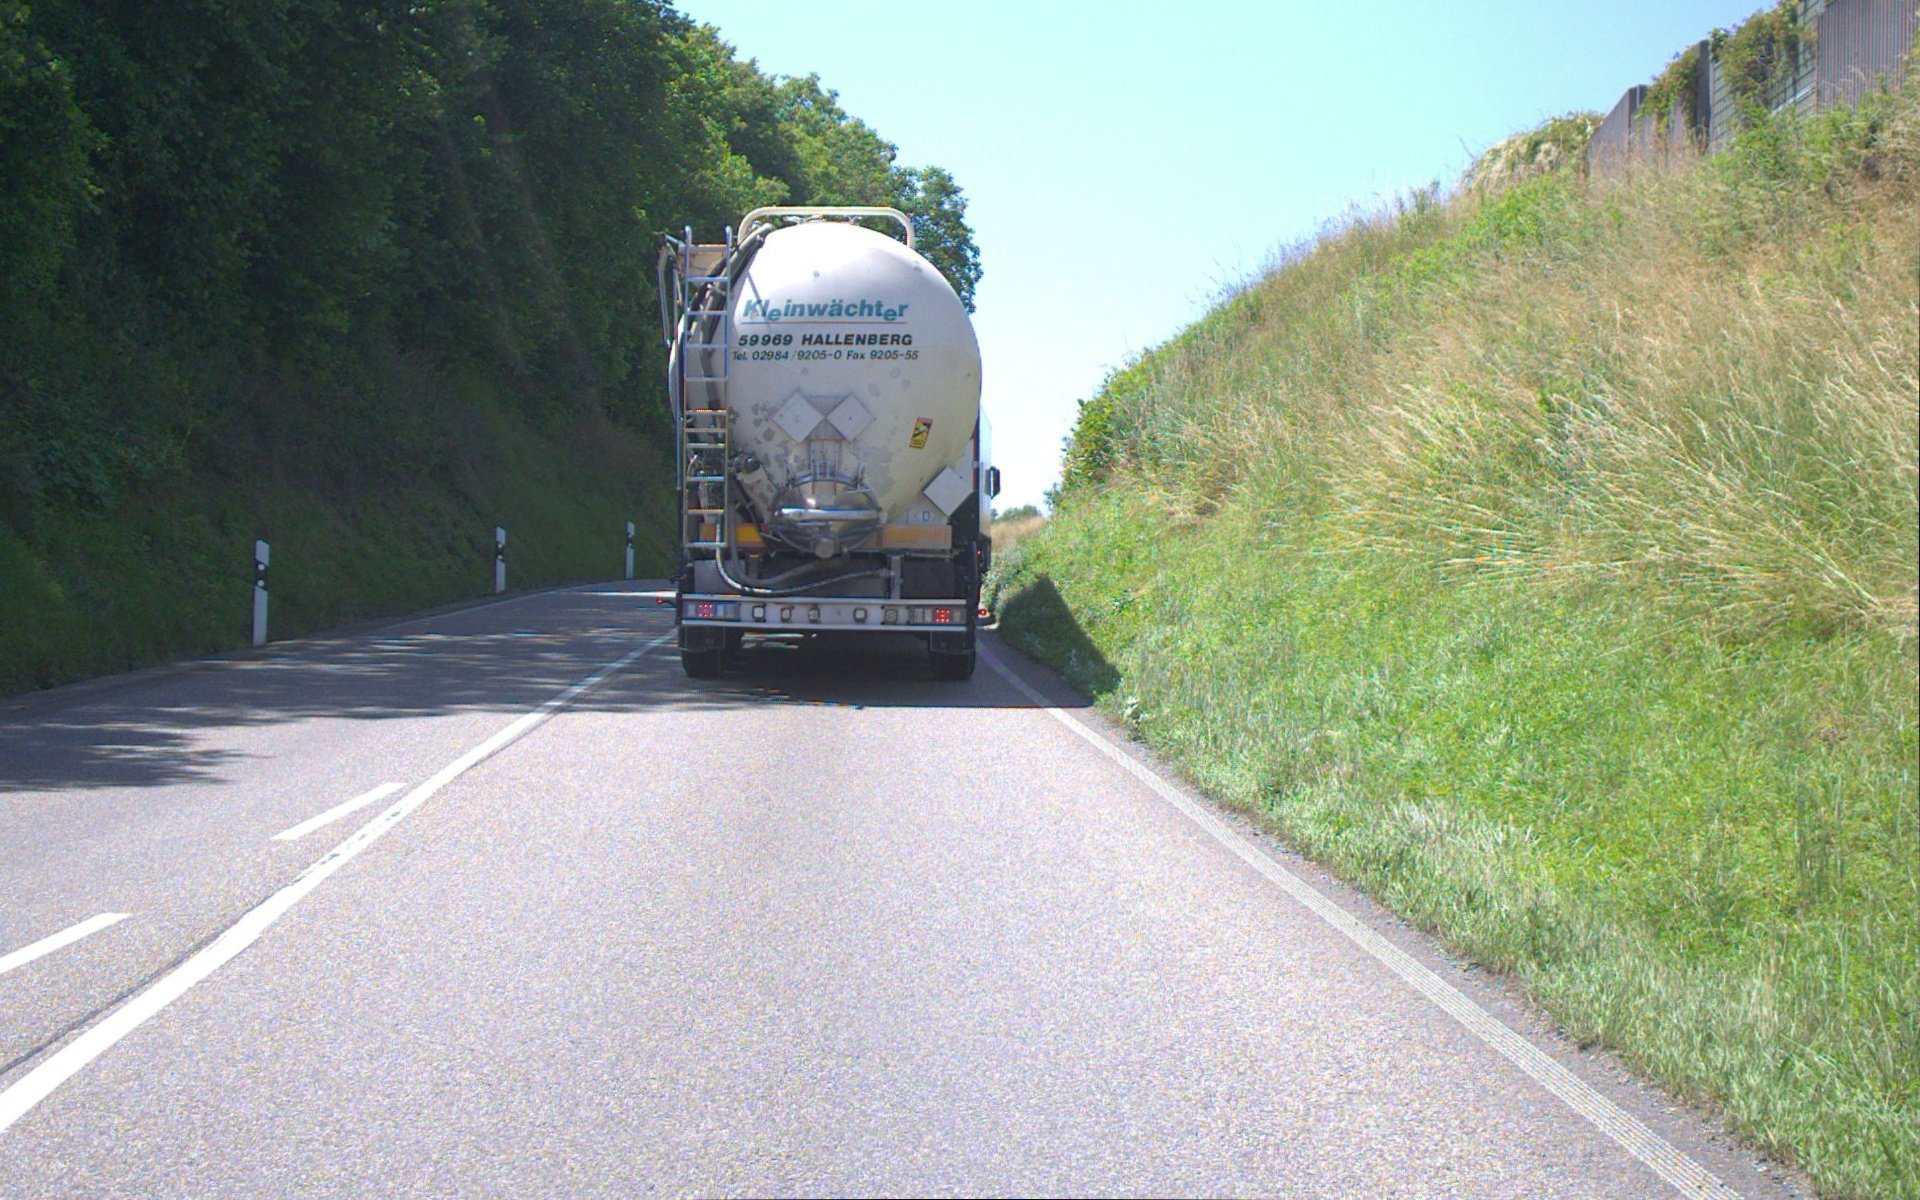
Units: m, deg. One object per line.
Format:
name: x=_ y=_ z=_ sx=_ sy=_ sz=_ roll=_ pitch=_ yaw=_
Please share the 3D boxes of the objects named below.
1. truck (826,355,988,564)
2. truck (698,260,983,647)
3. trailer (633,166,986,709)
truck: x=-1.094 y=-3.185 z=79.856 sx=3.190 sy=4.294 sz=11.801 roll=4 pitch=2 yaw=0
truck: x=-1.203 y=-1.643 z=38.704 sx=2.727 sy=3.916 sz=7.264 roll=1 pitch=2 yaw=1
trailer: x=-1.200 y=-1.517 z=32.797 sx=2.661 sy=4.174 sz=11.906 roll=1 pitch=2 yaw=0
